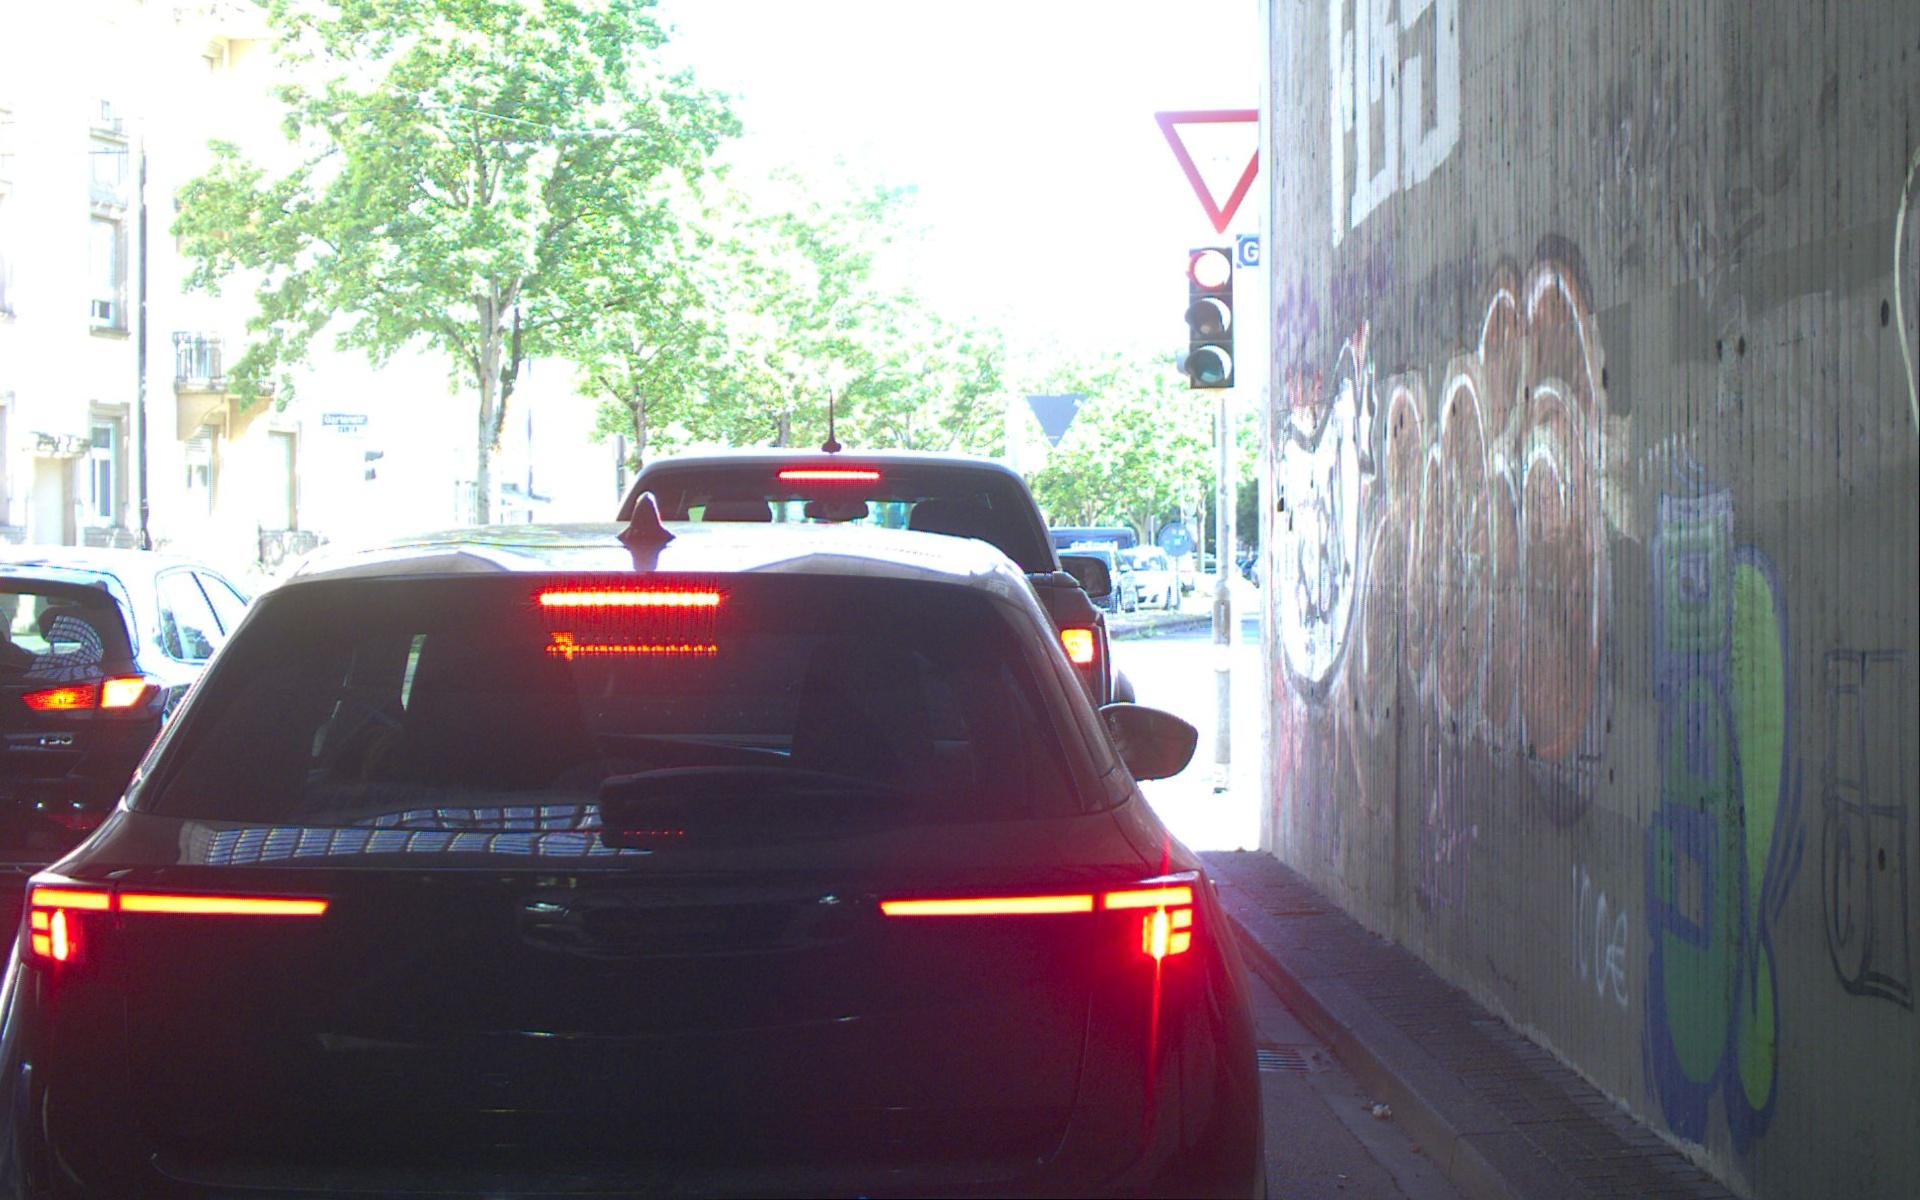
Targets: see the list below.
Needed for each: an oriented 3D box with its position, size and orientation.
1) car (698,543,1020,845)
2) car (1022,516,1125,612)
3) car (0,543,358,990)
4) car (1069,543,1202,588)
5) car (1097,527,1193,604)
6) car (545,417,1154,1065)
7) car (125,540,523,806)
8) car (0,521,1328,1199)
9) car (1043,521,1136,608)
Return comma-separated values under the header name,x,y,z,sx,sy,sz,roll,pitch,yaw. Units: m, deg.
name,x,y,z,sx,sy,sz,roll,pitch,yaw
car,-0.530,0.438,19.252,1.609,1.508,4.054,0,1,-1
car,2.081,-0.651,62.188,1.754,1.661,3.944,1,1,3
car,-3.522,0.519,13.280,1.762,1.475,3.844,0,1,-1
car,6.828,-1.346,133.767,4.798,1.661,1.824,1,1,-21
car,4.193,-0.776,77.591,1.754,1.661,3.943,1,1,9
car,-0.345,0.375,12.032,1.762,1.876,4.146,0,1,-1
car,-3.772,0.373,21.004,1.762,1.475,3.844,0,1,-1
car,-0.473,0.637,6.092,1.762,1.526,4.089,0,1,-1
car,2.601,-0.705,68.307,1.754,1.661,3.944,1,1,3
